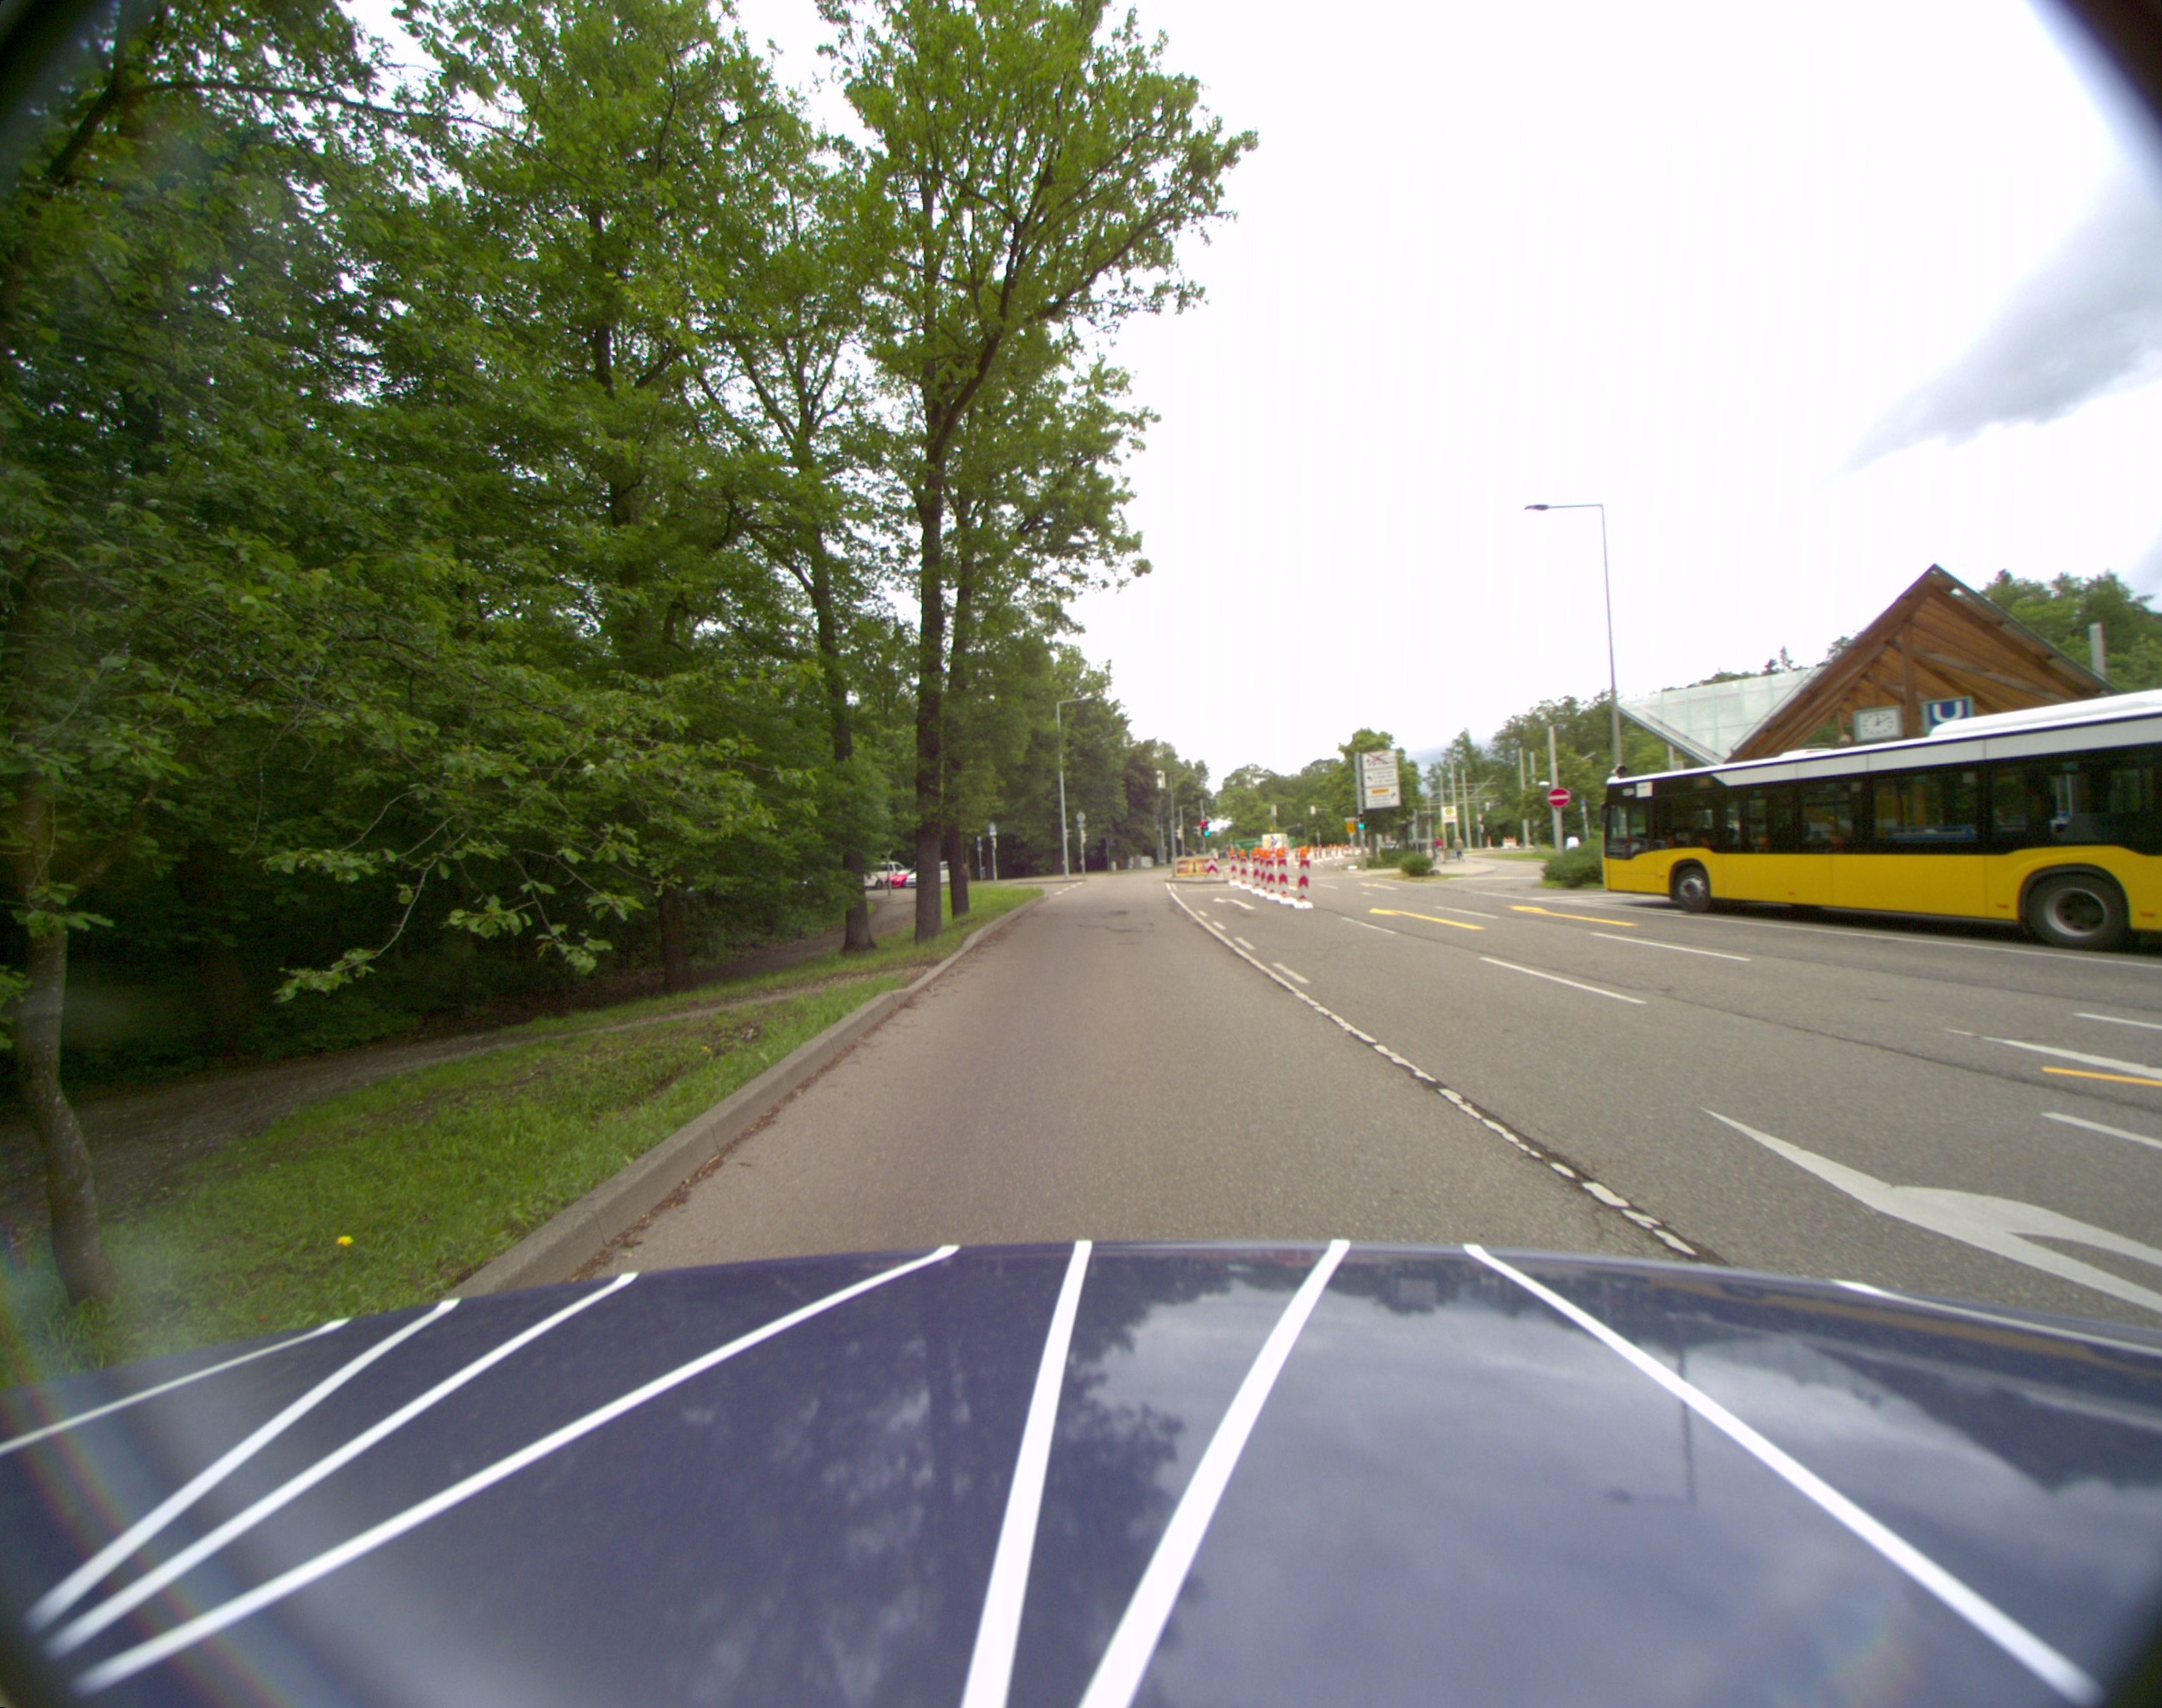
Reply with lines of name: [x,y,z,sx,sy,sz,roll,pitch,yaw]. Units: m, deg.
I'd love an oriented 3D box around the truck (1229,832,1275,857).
truck: [31.312,-1.671,139.641,3.791,3.858,8.760,-4,0,-19]

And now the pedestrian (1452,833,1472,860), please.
pedestrian: [22.579,-0.430,45.054,0.874,1.516,0.769,-4,0,18]

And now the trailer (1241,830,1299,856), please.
trailer: [33.179,-1.868,134.107,3.791,3.858,11.852,-4,0,-19]

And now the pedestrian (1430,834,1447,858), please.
pedestrian: [24.067,-0.523,51.105,0.791,1.542,0.776,-4,0,12]

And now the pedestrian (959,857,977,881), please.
pedestrian: [-8.298,1.093,55.795,1.095,1.666,0.909,-3,1,-20]

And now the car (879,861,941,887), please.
car: [-12.187,1.405,54.434,1.890,1.543,4.007,-4,0,35]

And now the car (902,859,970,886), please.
car: [-10.084,1.246,53.029,1.995,1.543,4.429,-4,-1,35]

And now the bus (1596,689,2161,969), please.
bus: [13.486,-0.350,12.927,2.906,3.109,9.759,-2,0,1]

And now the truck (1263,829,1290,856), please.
truck: [24.938,-1.480,96.930,2.631,3.219,6.215,-1,1,20]

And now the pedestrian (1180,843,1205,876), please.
pedestrian: [6.361,0.305,43.373,0.996,1.798,0.764,-4,0,-35]

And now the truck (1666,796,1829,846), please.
truck: [36.713,-1.760,42.193,2.609,2.157,6.295,-4,0,-17]

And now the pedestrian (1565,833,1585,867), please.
pedestrian: [22.708,-0.193,34.960,0.637,1.495,0.632,-4,0,29]

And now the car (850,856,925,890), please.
car: [-14.203,1.359,56.088,2.058,1.946,5.191,-4,1,32]
